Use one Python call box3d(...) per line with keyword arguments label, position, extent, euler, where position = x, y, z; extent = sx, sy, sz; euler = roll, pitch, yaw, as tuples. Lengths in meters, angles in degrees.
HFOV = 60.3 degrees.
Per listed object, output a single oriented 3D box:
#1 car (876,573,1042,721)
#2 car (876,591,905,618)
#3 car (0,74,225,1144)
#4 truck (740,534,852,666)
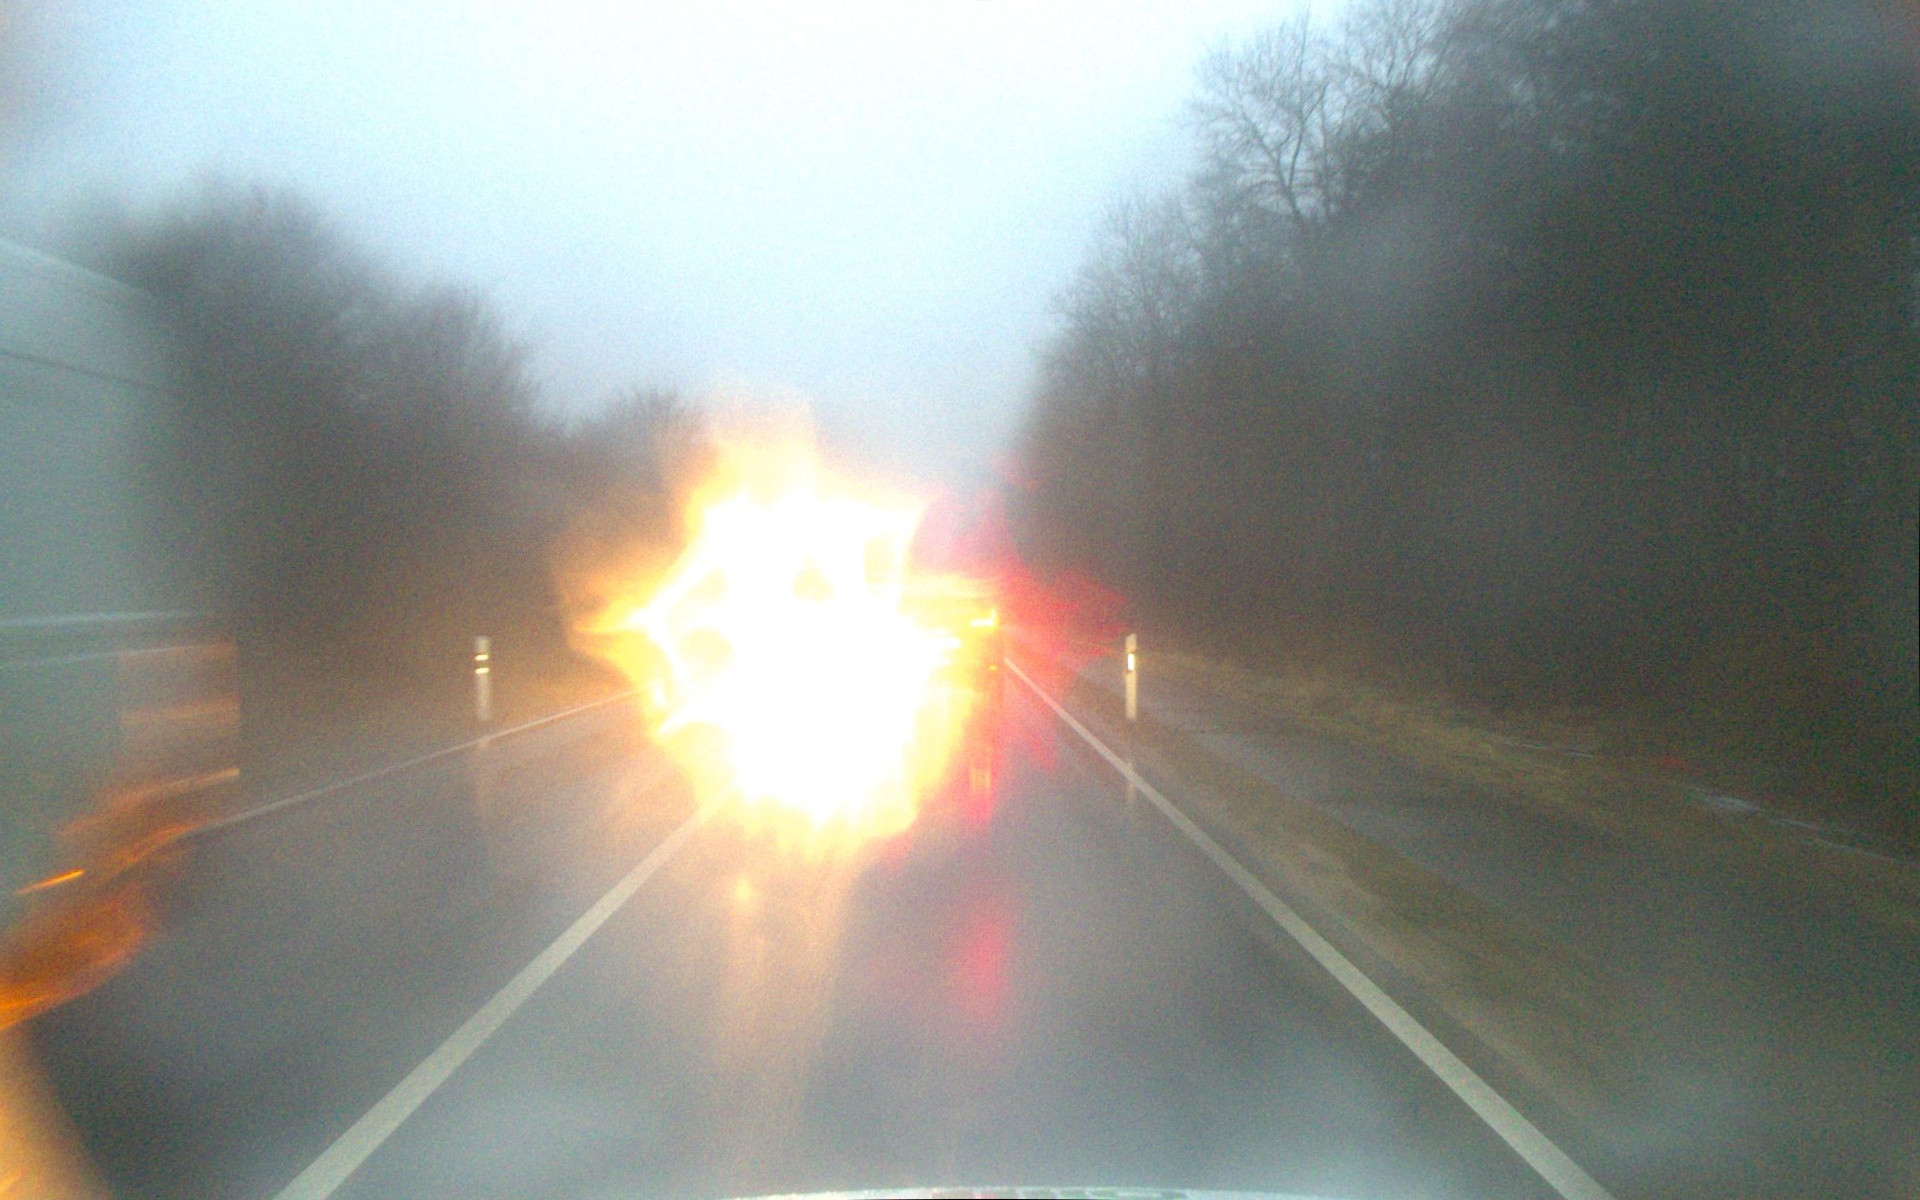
box3d(label="car", position=(-0.061, 0.627, 24.257), extent=(2.153, 1.910, 4.825), euler=(1, 0, -1))
box3d(label="car", position=(-4.431, 0.281, 105.890), extent=(1.659, 1.587, 4.128), euler=(1, 1, -1))
box3d(label="car", position=(-3.544, 0.017, 2.440), extent=(2.031, 2.860, 6.651), euler=(1, 0, -1))
box3d(label="truck", position=(-3.777, 0.002, 39.277), extent=(2.060, 2.820, 6.870), euler=(1, 0, -1))
